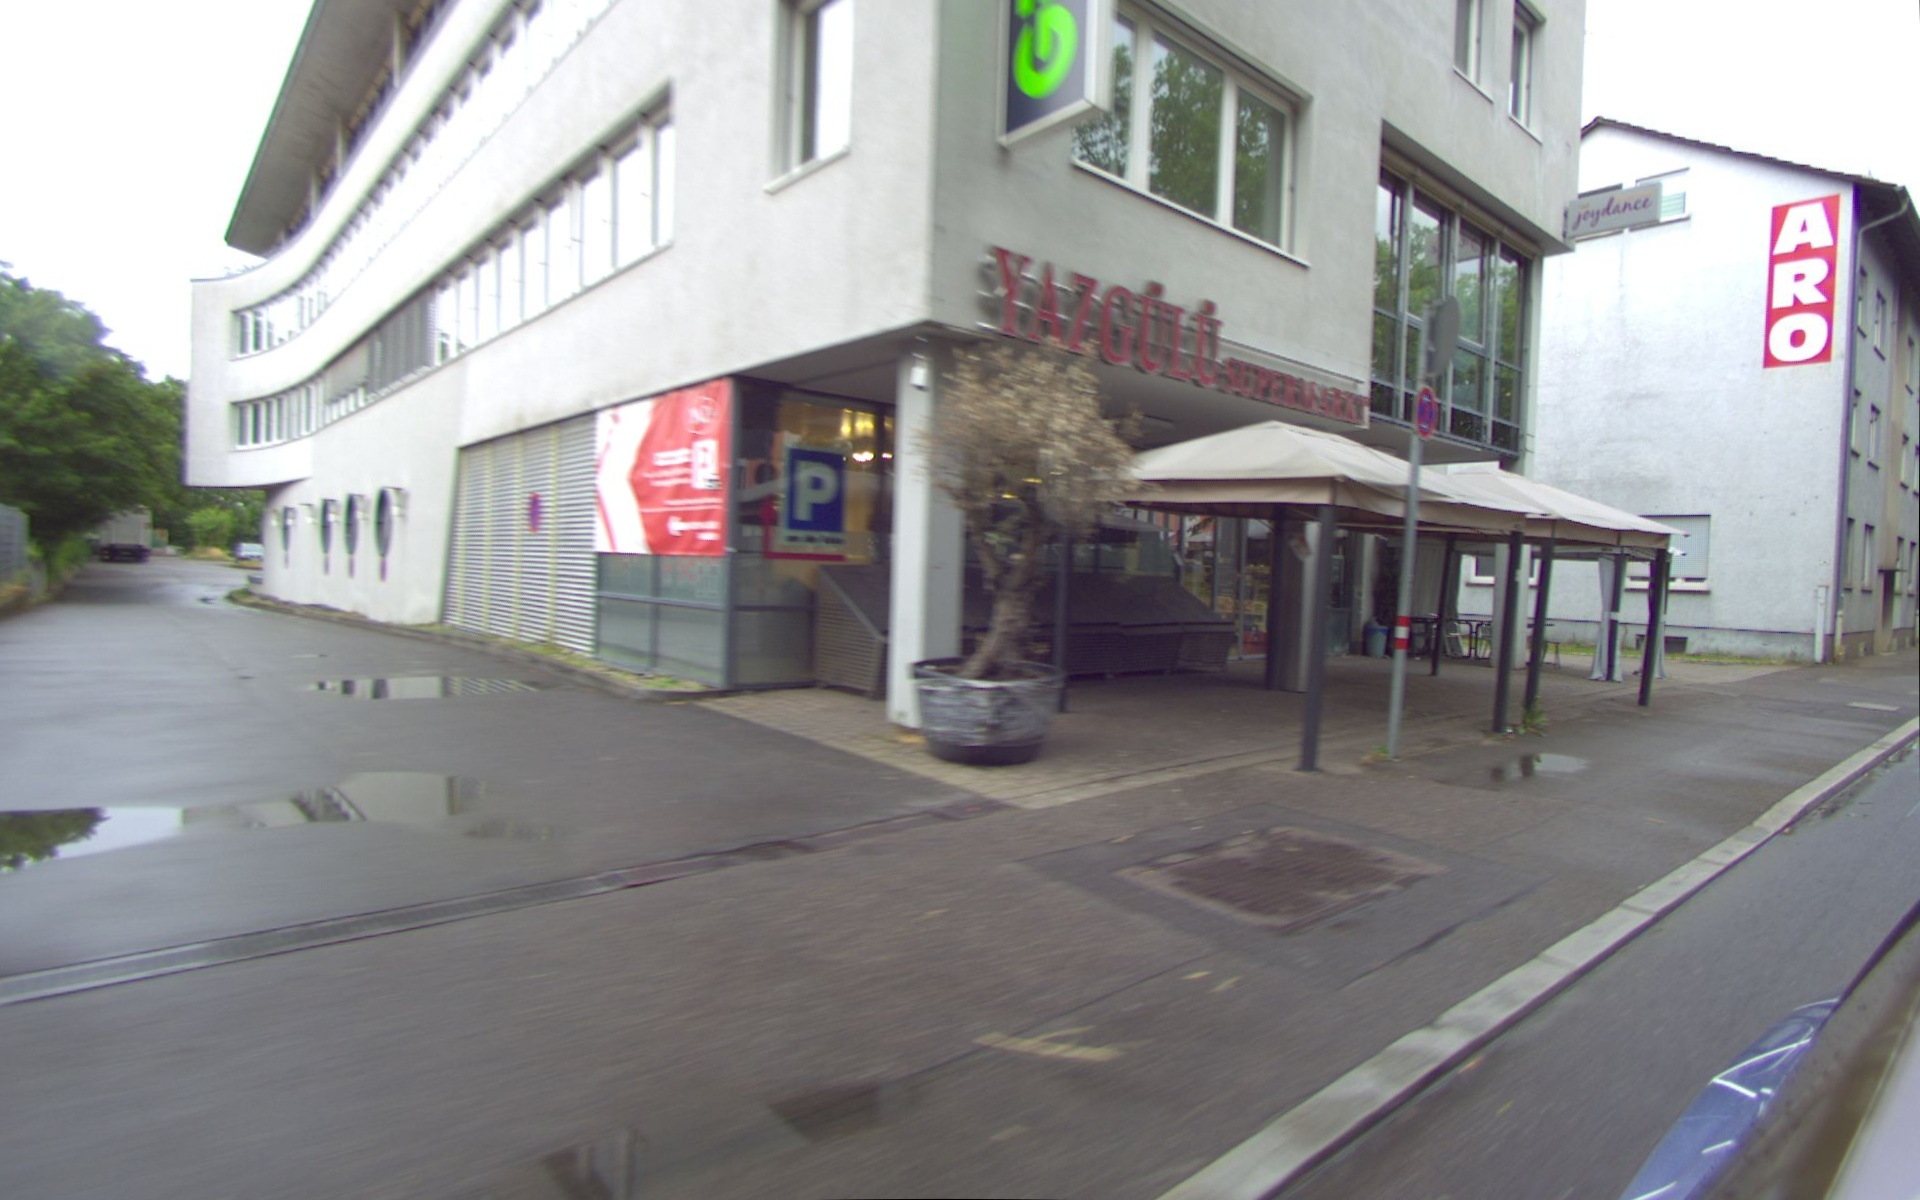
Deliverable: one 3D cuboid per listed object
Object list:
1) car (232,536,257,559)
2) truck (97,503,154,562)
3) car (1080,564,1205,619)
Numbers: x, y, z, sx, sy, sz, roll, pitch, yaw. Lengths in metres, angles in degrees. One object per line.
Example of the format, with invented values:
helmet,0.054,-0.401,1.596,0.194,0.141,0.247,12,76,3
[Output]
car,-67.906,-4.989,96.057,1.597,2.038,3.996,1,2,-40
truck,-55.935,-4.411,67.816,2.688,3.570,6.135,0,0,-42
car,6.722,-0.364,37.693,1.985,1.894,4.311,-1,2,-40
